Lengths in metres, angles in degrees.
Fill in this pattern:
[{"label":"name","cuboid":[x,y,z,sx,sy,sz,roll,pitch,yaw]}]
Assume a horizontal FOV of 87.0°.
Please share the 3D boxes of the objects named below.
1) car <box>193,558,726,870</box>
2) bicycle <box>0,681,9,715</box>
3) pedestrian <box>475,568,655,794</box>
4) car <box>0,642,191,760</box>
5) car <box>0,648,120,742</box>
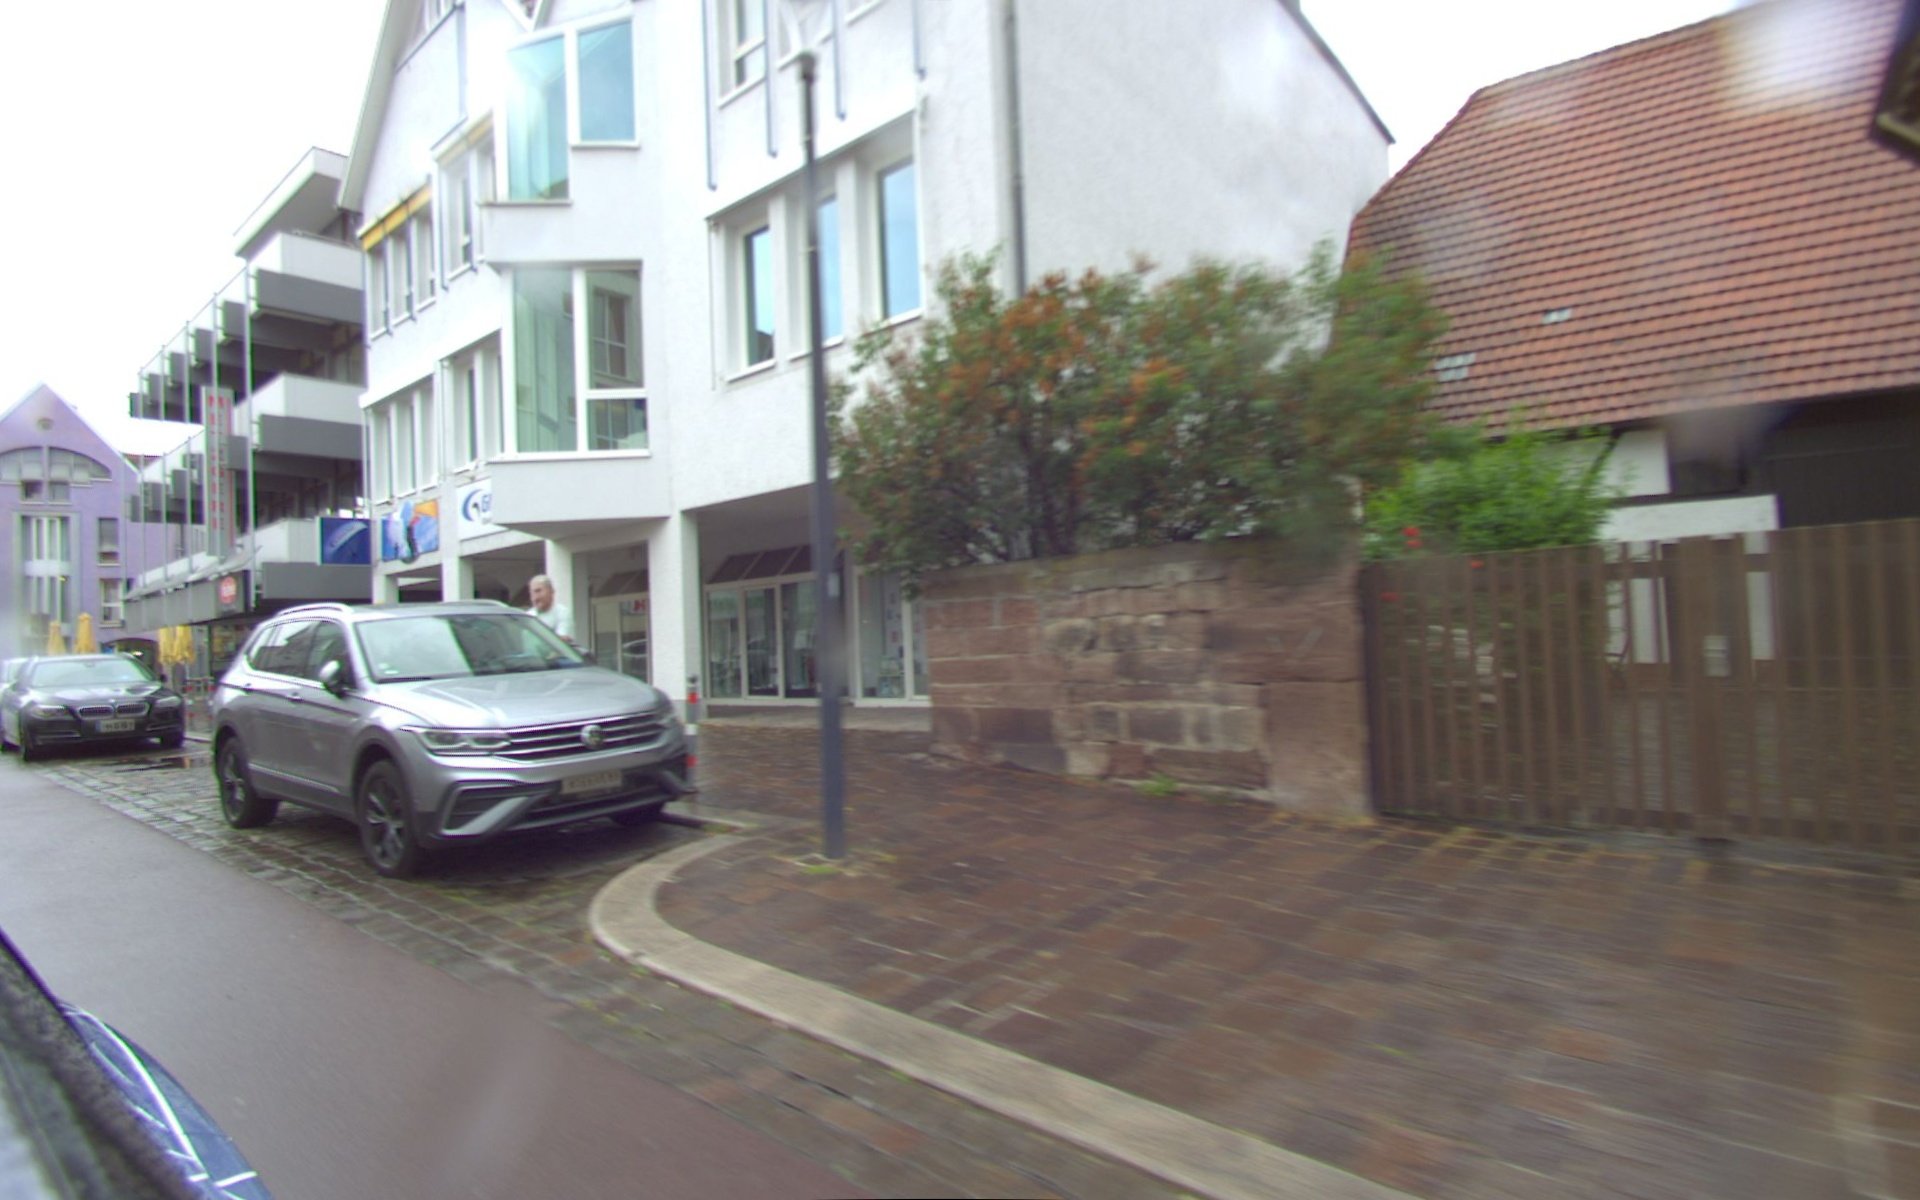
[{"label":"car","cuboid":[-3.769,0.633,7.239,4.403,1.580,1.762,-2,-1,39]},{"label":"bicycle","cuboid":[-34.749,3.514,35.694,0.441,1.173,1.739,-2,-1,21]},{"label":"pedestrian","cuboid":[-3.470,0.669,8.883,1.115,1.820,1.024,-4,-2,41]},{"label":"car","cuboid":[-13.431,1.473,15.511,4.762,1.510,1.811,-4,-4,42]},{"label":"car","cuboid":[-18.204,1.799,20.030,3.997,1.562,1.773,-2,0,41]}]
